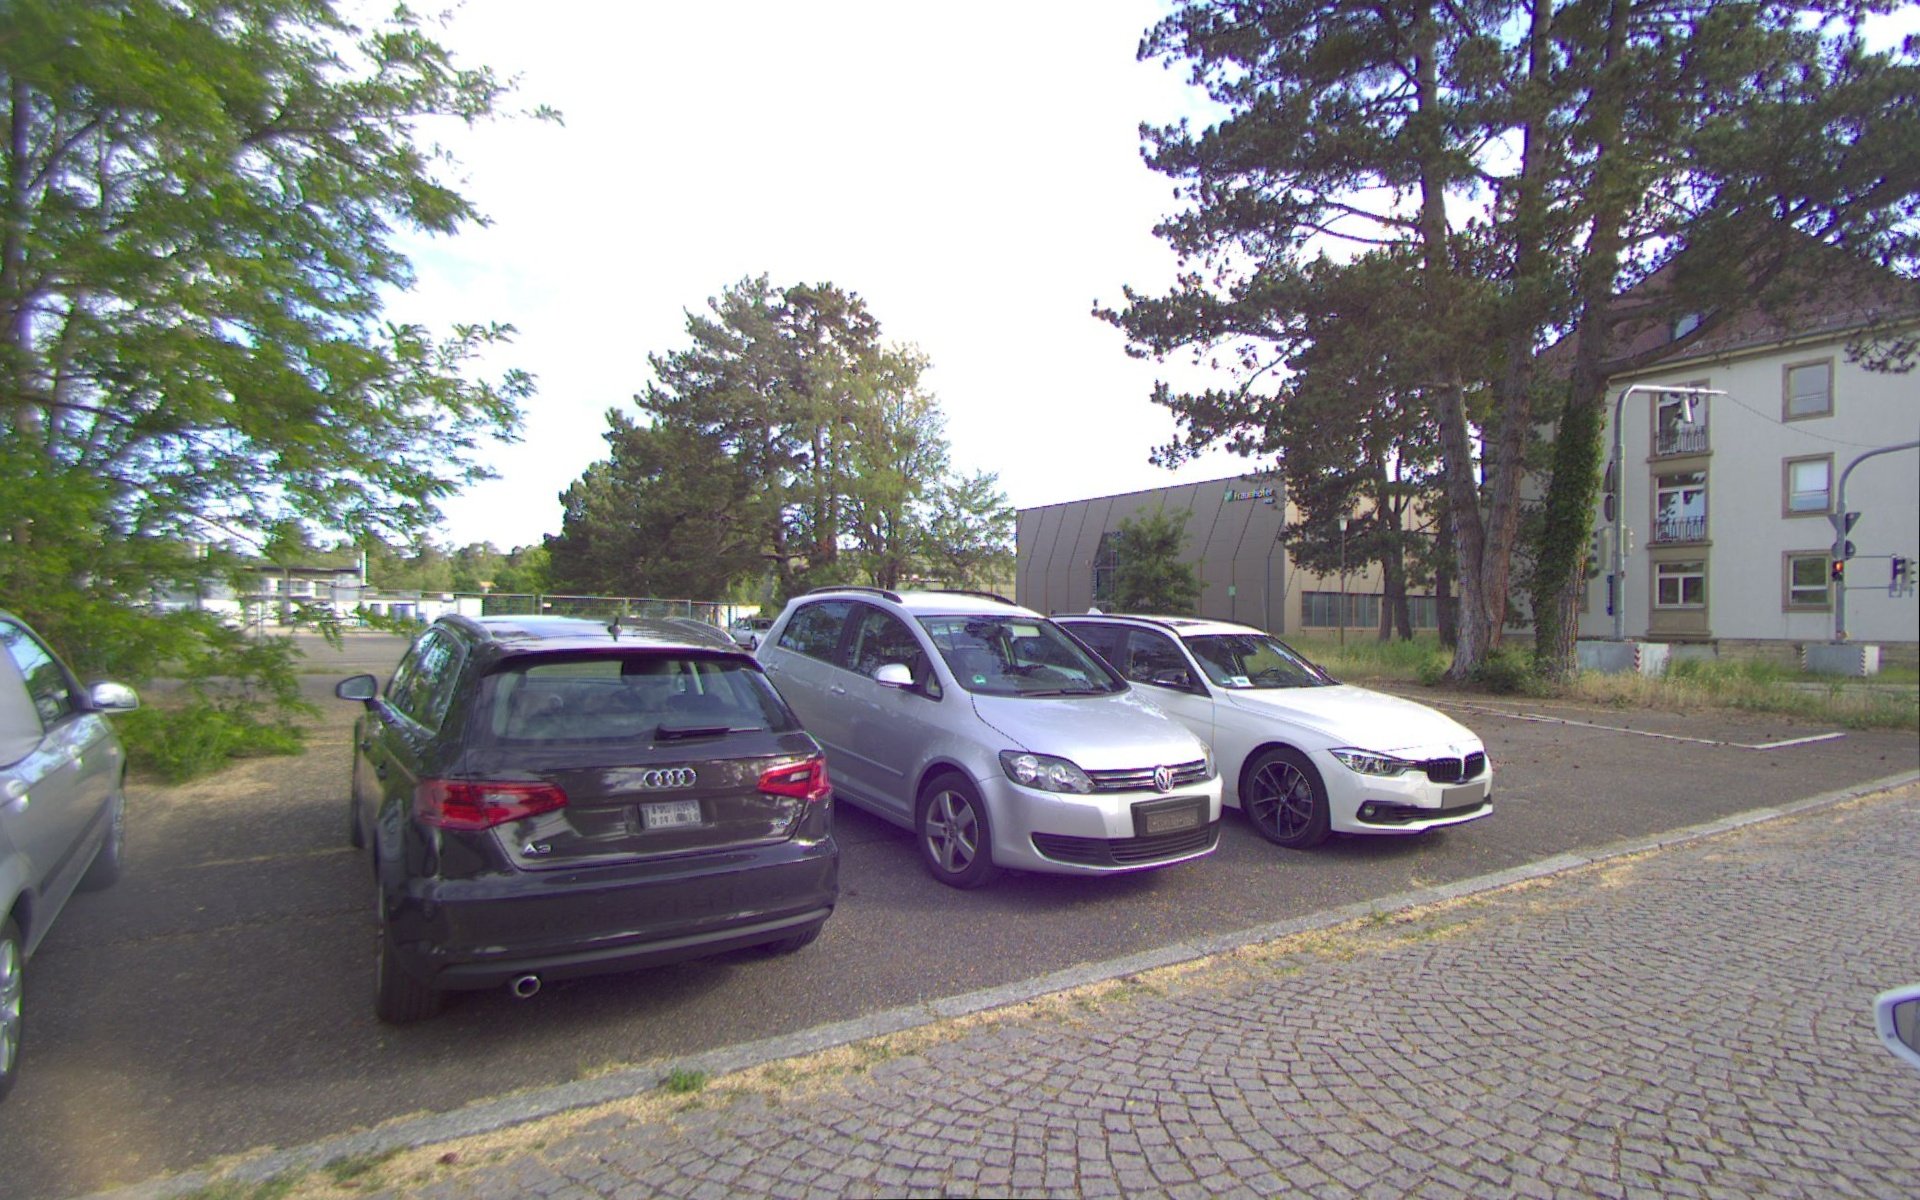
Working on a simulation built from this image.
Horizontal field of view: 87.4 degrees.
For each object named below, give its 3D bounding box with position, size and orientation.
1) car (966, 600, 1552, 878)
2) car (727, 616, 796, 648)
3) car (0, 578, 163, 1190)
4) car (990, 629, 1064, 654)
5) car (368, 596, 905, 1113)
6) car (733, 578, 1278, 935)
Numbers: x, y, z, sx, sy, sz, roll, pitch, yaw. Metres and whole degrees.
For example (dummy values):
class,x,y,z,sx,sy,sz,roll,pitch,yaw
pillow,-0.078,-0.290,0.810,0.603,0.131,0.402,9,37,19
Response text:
class,x,y,z,sx,sy,sz,roll,pitch,yaw
car,2.076,0.841,8.273,1.812,1.461,4.448,1,2,-35
car,-8.943,1.422,45.089,1.577,1.355,3.704,1,-1,-36
car,-4.099,0.696,3.600,1.630,1.495,3.554,1,1,-34
car,3.974,2.457,59.552,4.081,1.433,1.750,1,-1,-29
car,-1.947,0.773,5.064,1.677,1.427,3.814,1,1,-32
car,0.007,0.715,6.773,1.718,1.629,3.807,1,1,-34
